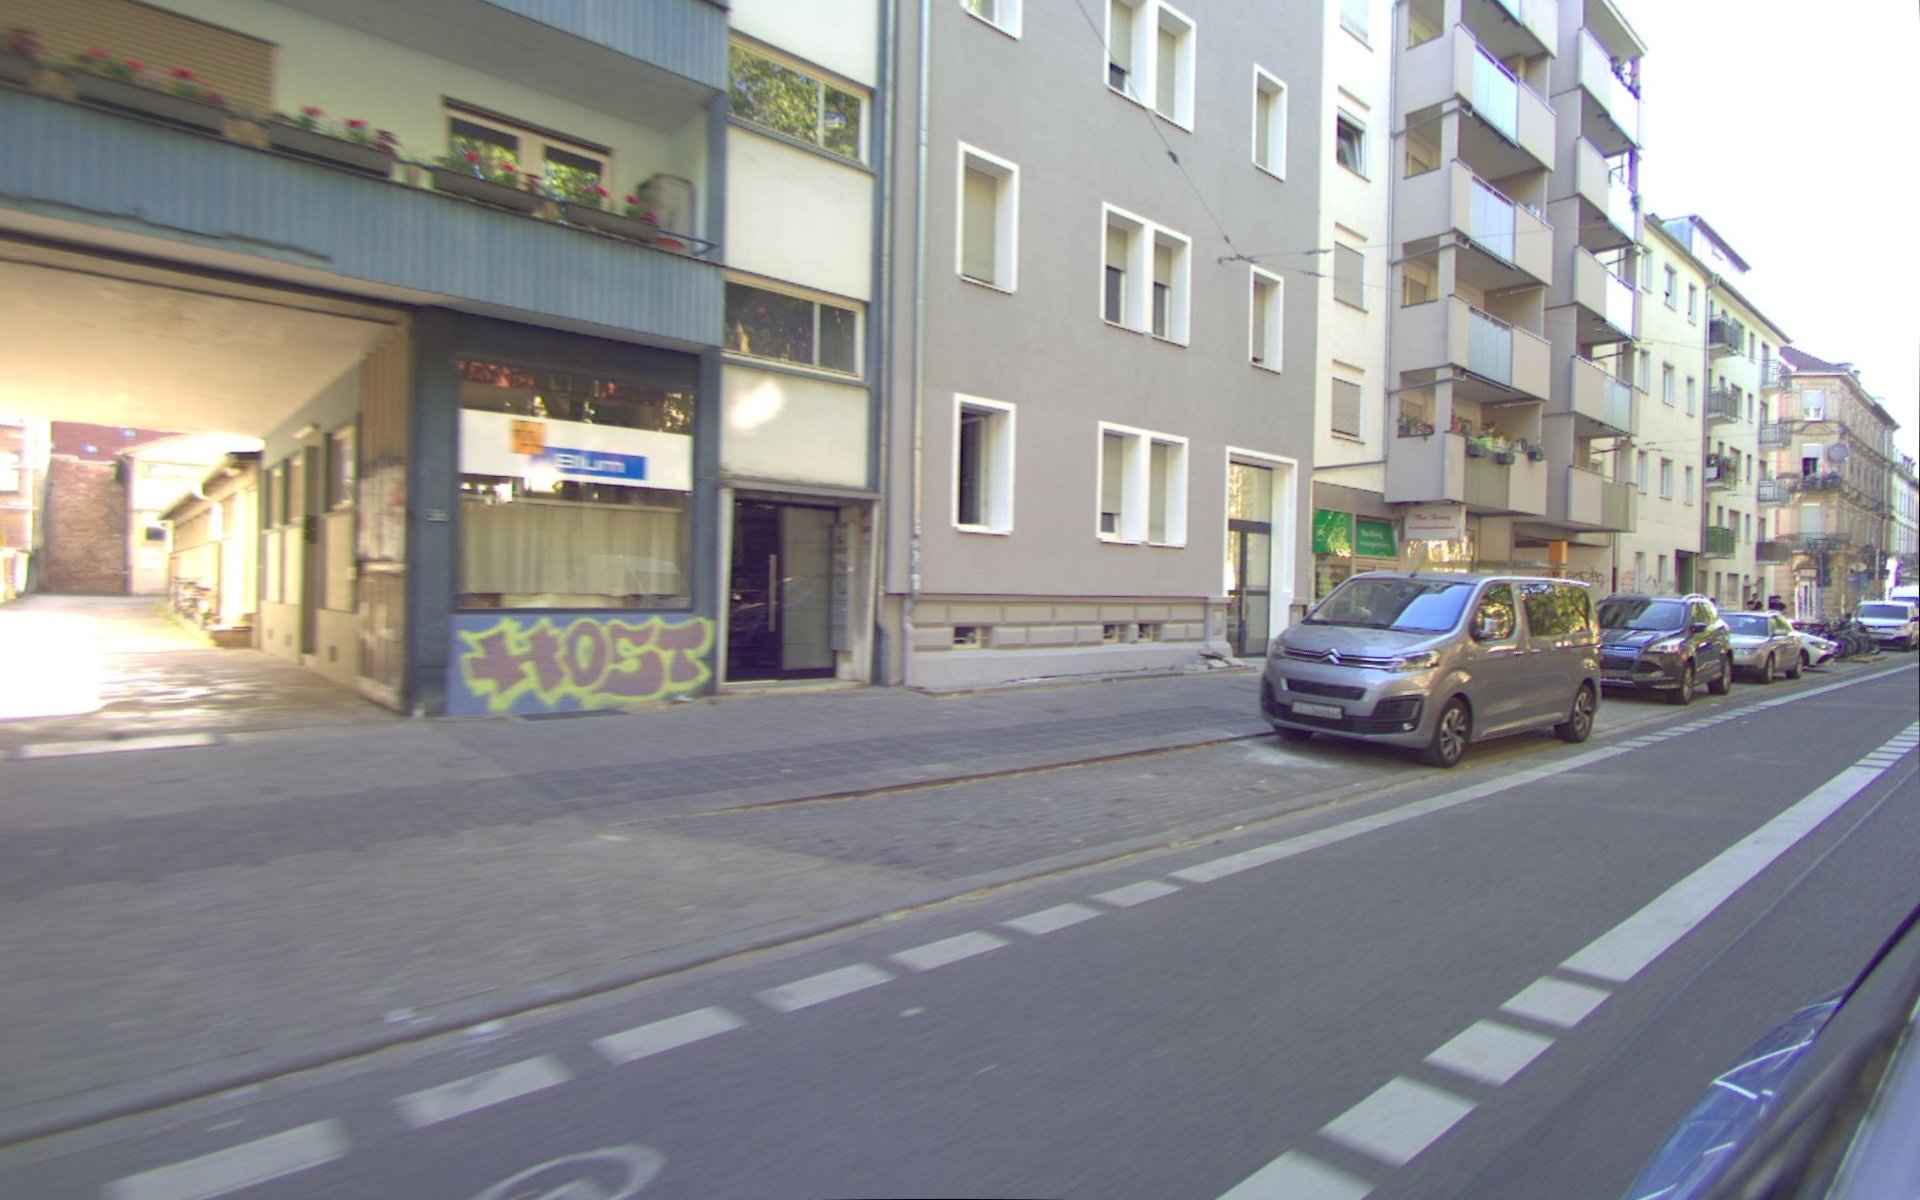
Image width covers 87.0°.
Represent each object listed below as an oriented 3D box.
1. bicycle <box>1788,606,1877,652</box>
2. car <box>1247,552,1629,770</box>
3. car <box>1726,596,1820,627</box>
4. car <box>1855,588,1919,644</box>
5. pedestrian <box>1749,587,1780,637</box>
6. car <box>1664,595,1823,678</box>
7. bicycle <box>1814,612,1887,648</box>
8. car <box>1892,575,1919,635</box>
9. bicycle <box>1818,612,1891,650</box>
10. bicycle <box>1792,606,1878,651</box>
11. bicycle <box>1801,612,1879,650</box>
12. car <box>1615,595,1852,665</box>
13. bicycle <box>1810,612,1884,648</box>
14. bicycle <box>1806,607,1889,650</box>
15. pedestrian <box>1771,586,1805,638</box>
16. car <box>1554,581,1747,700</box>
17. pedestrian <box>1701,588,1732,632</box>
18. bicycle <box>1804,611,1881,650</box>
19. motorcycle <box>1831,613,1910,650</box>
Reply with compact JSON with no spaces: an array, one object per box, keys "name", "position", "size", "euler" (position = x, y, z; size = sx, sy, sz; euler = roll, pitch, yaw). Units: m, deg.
[{"name":"bicycle","position":[25.502,0.825,29.607],"size":[0.449,1.206,1.896],"euler":[1,2,-40]},{"name":"car","position":[5.410,0.520,11.144],"size":[4.835,1.913,1.863],"euler":[0,1,-39]},{"name":"car","position":[43.724,0.601,54.475],"size":[1.758,1.594,3.658],"euler":[-1,0,-39]},{"name":"car","position":[34.979,0.545,37.732],"size":[4.276,1.841,1.862],"euler":[-1,5,-42]},{"name":"pedestrian","position":[30.141,0.435,37.913],"size":[1.062,1.845,0.626],"euler":[0,2,-39]},{"name":"car","position":[16.541,0.686,21.288],"size":[4.432,1.544,1.728],"euler":[0,1,-40]},{"name":"bicycle","position":[28.028,0.932,31.877],"size":[0.449,0.999,1.656],"euler":[0,3,-40]},{"name":"car","position":[42.597,0.191,44.204],"size":[5.983,2.527,2.152],"euler":[0,1,-42]},{"name":"bicycle","position":[28.438,0.965,32.195],"size":[0.449,1.068,1.656],"euler":[1,2,-40]},{"name":"bicycle","position":[25.855,0.822,29.920],"size":[0.449,1.206,1.827],"euler":[1,2,-40]},{"name":"bicycle","position":[26.246,0.908,30.203],"size":[0.449,0.978,1.656],"euler":[0,3,-40]},{"name":"car","position":[19.492,0.684,25.724],"size":[4.606,1.455,1.839],"euler":[3,2,39]},{"name":"bicycle","position":[27.516,0.920,31.424],"size":[0.449,0.999,1.656],"euler":[0,3,-40]},{"name":"bicycle","position":[27.085,0.859,30.902],"size":[0.692,1.162,1.797],"euler":[0,3,-41]},{"name":"pedestrian","position":[30.579,0.425,37.371],"size":[1.062,1.845,0.711],"euler":[0,2,-39]},{"name":"car","position":[11.539,0.574,16.798],"size":[4.211,1.726,1.769],"euler":[0,1,-43]},{"name":"pedestrian","position":[29.112,0.370,38.943],"size":[0.916,1.598,0.634],"euler":[0,6,-39]},{"name":"bicycle","position":[26.602,0.904,30.529],"size":[0.449,1.033,1.656],"euler":[1,3,-40]},{"name":"motorcycle","position":[29.234,1.000,32.526],"size":[0.604,1.093,1.829],"euler":[1,2,-17]}]
